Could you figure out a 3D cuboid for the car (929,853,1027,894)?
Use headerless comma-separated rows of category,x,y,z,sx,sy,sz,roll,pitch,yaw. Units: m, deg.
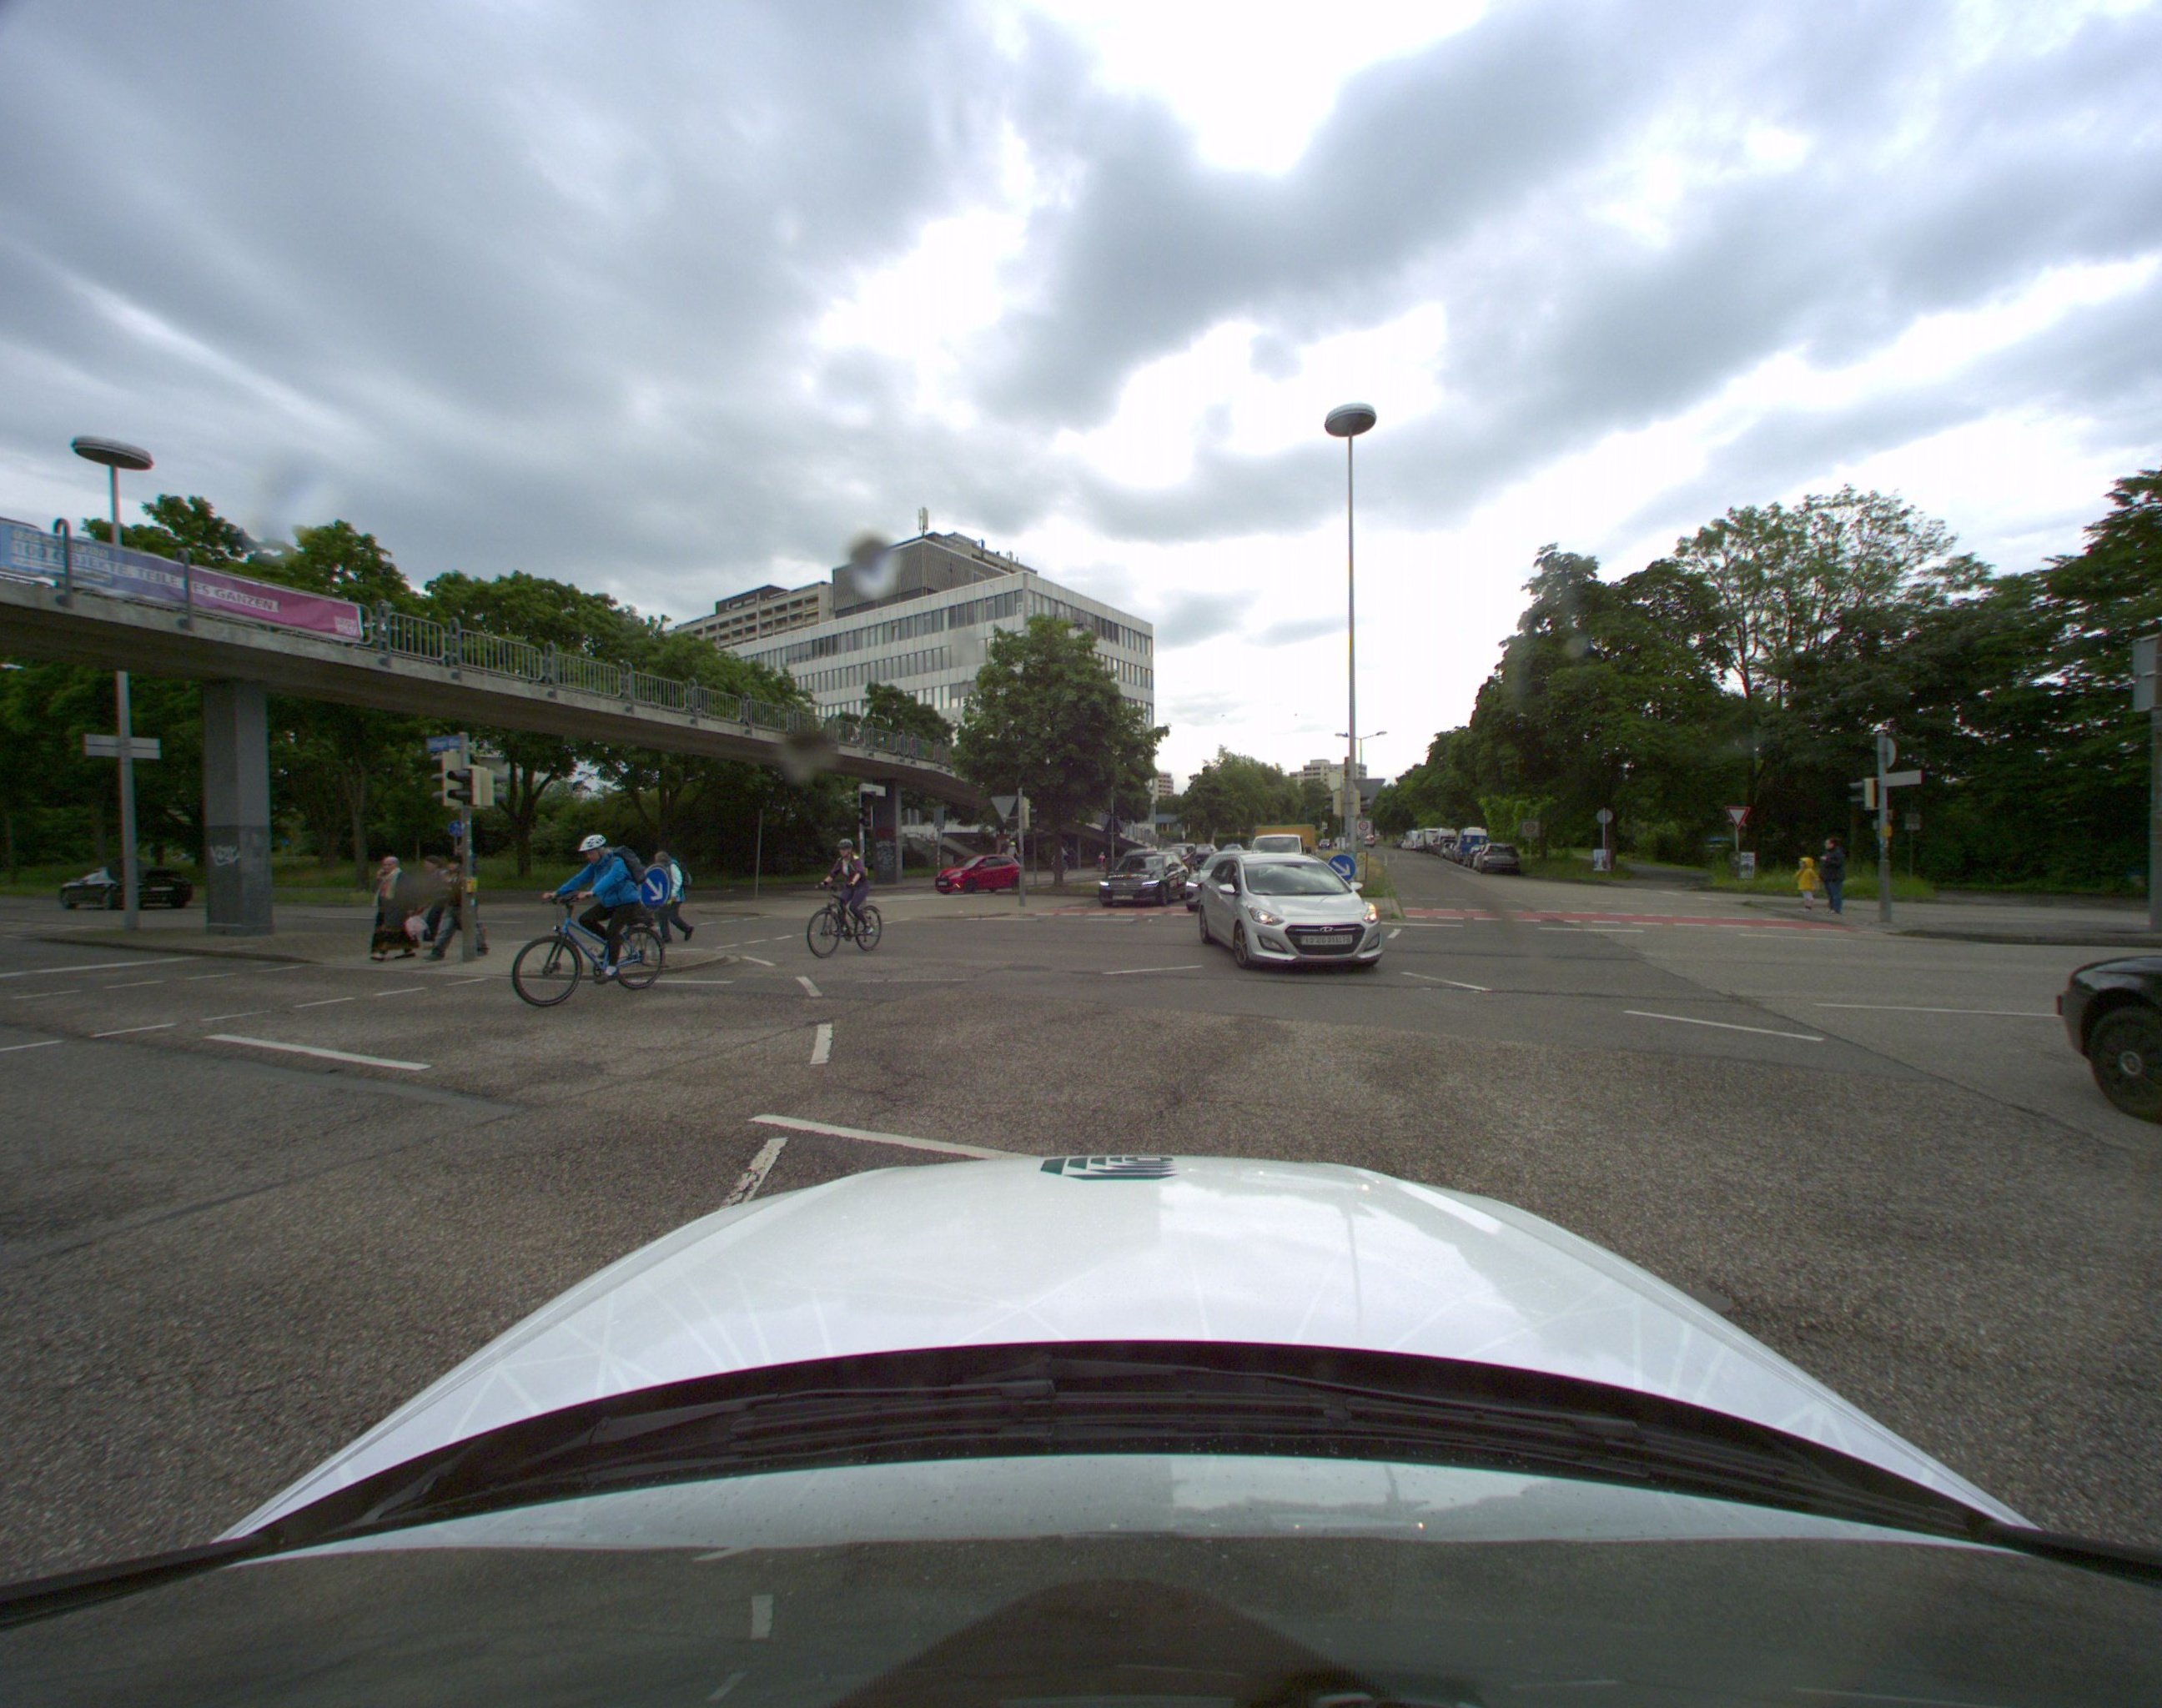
car,-3.837,0.692,30.787,1.498,1.390,3.554,-1,0,43

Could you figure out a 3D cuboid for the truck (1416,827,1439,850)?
truck,41.320,-1.812,97.191,1.978,2.572,5.402,-1,0,16

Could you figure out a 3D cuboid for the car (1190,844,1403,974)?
car,2.871,0.658,11.890,1.785,1.519,4.321,-1,0,-2

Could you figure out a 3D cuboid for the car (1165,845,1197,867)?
car,7.640,0.121,62.095,1.658,1.552,3.781,-1,1,19

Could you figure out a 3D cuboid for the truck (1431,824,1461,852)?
truck,38.261,-1.693,85.427,1.979,2.838,5.755,-1,1,15

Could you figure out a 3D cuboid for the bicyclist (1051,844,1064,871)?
bicyclist,-1.408,0.222,49.535,0.559,1.644,0.535,-1,0,35

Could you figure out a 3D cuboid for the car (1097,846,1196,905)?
car,1.969,0.537,23.082,1.755,1.477,4.411,-1,1,19

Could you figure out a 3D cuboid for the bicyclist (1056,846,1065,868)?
bicyclist,-1.174,0.172,46.175,0.401,1.181,0.379,2,2,20

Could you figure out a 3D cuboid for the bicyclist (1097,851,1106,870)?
bicyclist,1.325,0.416,53.265,0.427,1.217,0.570,-1,1,18

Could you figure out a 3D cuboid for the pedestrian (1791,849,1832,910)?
pedestrian,16.512,0.567,18.407,0.522,1.341,0.527,-1,1,18

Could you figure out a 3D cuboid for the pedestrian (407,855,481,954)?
pedestrian,-10.552,0.812,13.517,0.577,1.579,0.781,-1,1,0

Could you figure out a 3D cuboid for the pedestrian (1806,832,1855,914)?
pedestrian,16.367,0.401,17.795,0.651,1.749,0.461,-1,1,18

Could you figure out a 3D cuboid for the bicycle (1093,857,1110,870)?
bicycle,1.338,0.640,53.242,0.505,0.778,1.850,-1,1,20

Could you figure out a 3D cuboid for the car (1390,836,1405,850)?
car,47.965,-1.695,123.303,1.639,1.918,3.935,-1,2,15

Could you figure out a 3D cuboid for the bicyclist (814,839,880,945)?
bicyclist,-3.630,0.574,12.662,0.673,1.594,0.698,-1,0,18

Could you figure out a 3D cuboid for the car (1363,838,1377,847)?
car,46.920,-1.901,132.152,2.004,1.505,4.019,-1,1,18

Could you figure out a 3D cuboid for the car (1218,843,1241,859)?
car,14.815,-0.319,81.227,1.658,1.552,4.020,-1,1,19

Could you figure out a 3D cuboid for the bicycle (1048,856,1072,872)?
bicycle,-1.292,0.609,49.704,0.521,0.949,1.720,-1,1,35

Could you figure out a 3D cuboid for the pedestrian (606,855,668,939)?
pedestrian,-8.197,0.785,15.039,0.912,1.510,0.405,-1,1,7

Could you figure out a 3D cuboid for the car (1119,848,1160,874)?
car,3.763,0.432,51.925,1.658,1.552,3.911,-1,1,19

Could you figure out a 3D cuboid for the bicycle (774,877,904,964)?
bicycle,-3.648,0.969,12.545,0.721,1.101,2.275,-1,1,18

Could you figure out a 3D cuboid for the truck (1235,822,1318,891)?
truck,7.117,0.032,29.162,2.137,2.198,5.871,-1,1,20

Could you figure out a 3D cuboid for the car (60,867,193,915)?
car,-33.018,1.235,28.166,4.345,1.508,1.682,0,2,23

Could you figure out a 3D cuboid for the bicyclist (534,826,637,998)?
bicyclist,-5.317,0.591,8.757,0.639,1.768,0.650,-1,1,19

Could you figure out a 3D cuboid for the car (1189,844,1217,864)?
car,10.345,-0.011,68.862,1.658,1.552,4.020,-1,1,19

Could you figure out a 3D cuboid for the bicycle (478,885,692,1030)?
bicycle,-5.299,1.031,8.897,0.538,1.267,2.121,-1,1,18

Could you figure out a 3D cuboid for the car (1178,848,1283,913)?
car,3.985,0.603,21.041,1.881,1.420,4.760,-1,1,20

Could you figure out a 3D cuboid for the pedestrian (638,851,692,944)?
pedestrian,-7.448,0.766,14.585,0.682,1.604,0.490,-1,1,14

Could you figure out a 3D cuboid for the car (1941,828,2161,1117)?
car,6.110,0.610,3.277,1.783,1.457,4.564,-1,1,20

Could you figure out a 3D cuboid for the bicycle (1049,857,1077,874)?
bicycle,-0.997,0.643,46.200,0.755,0.949,1.965,-1,1,26

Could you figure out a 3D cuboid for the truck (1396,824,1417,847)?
truck,43.155,-2.390,107.999,1.979,3.009,5.796,-1,0,15

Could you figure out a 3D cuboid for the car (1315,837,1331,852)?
car,34.695,-1.356,116.836,1.977,2.013,4.020,-1,1,20

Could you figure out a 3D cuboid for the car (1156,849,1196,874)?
car,5.414,0.401,46.170,1.545,1.346,2.988,-1,1,22

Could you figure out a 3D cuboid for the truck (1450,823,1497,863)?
truck,27.802,-0.744,57.833,2.157,2.656,6.276,-1,0,18

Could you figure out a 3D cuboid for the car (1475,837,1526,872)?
car,21.621,-0.006,42.105,1.769,1.662,4.019,-1,1,18

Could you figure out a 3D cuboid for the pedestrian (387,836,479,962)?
pedestrian,-9.631,0.641,12.128,0.633,1.803,0.804,-1,1,10

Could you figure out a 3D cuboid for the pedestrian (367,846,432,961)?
pedestrian,-10.278,0.735,12.290,0.615,1.691,0.406,-1,1,4

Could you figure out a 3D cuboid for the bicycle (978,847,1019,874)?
bicycle,-4.454,0.344,44.321,0.849,1.315,3.247,-1,2,21

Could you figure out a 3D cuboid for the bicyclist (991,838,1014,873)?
bicyclist,-4.313,0.075,44.761,0.849,1.892,1.133,-1,1,20
